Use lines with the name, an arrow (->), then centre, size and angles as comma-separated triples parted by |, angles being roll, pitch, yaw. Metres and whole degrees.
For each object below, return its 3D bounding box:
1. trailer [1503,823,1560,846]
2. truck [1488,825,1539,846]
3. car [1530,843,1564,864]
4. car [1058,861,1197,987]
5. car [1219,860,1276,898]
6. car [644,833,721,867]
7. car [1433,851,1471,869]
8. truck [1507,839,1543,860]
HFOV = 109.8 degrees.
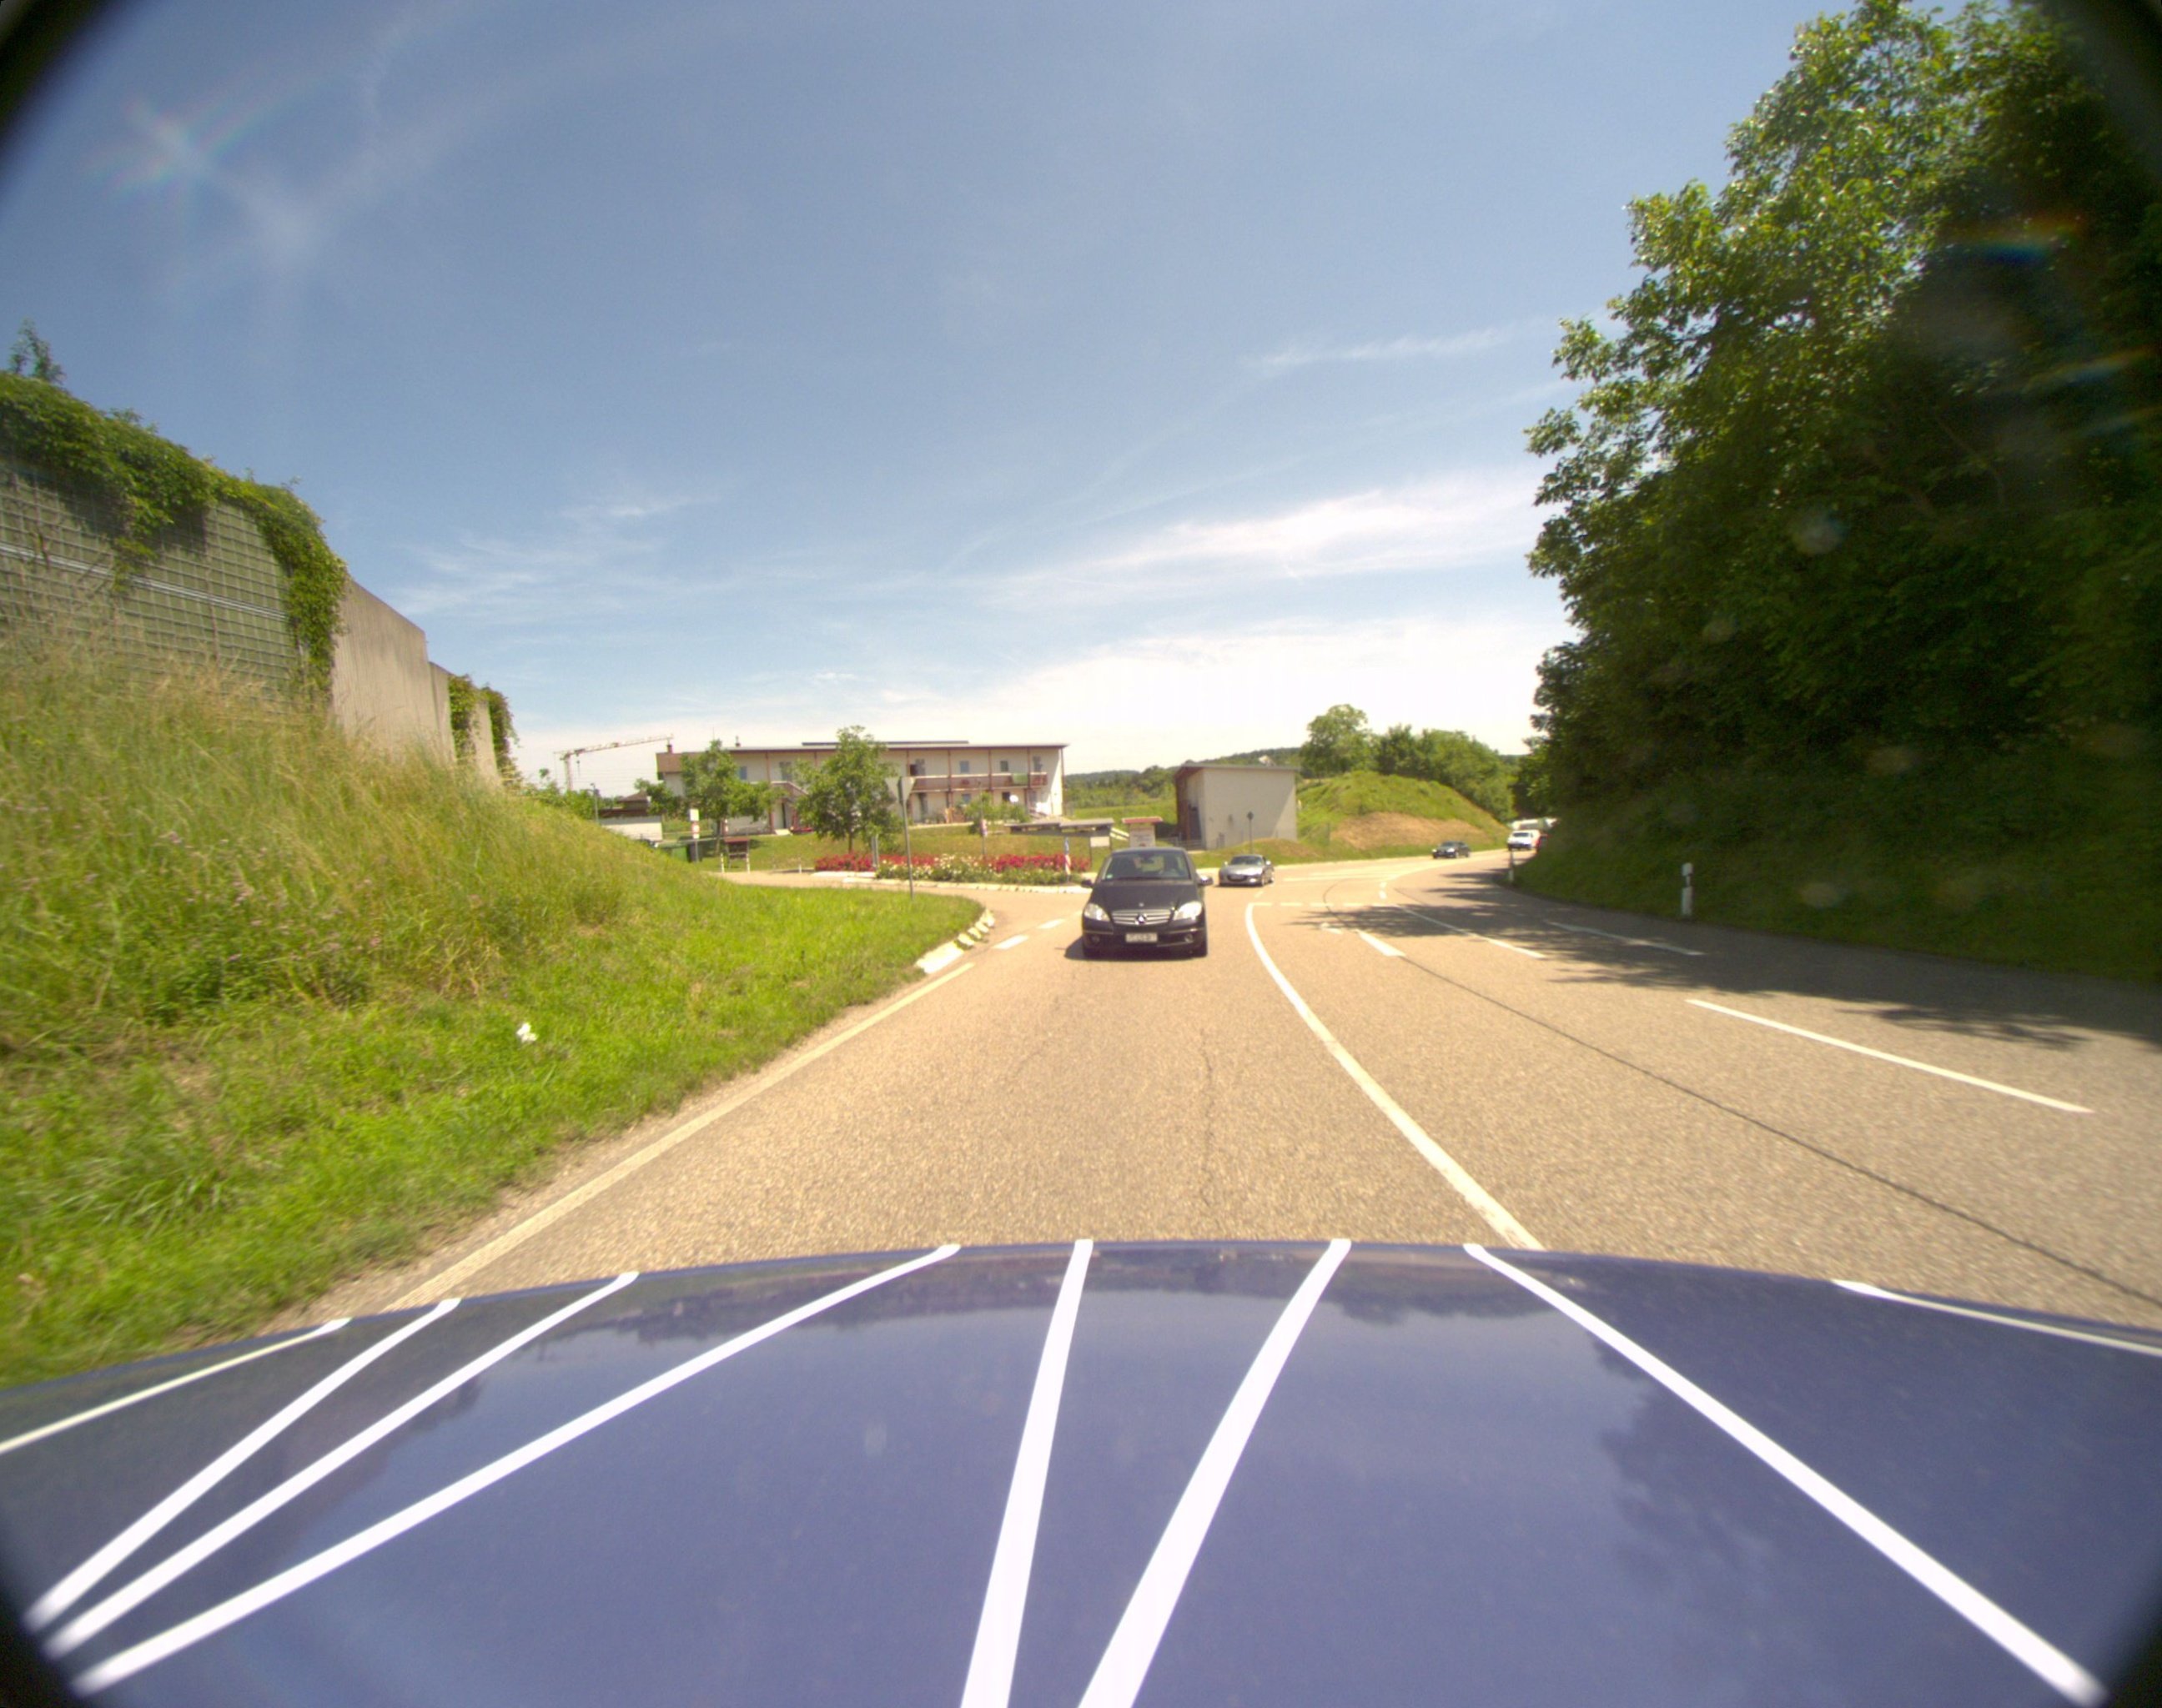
trailer -> 68.910, -2.975, 116.499 | 2.639, 3.353, 11.143 | -1, 1, 3
truck -> 69.296, -2.924, 121.889 | 2.636, 3.152, 7.056 | -2, 1, -18
car -> 39.043, -0.068, 63.625 | 1.791, 1.596, 4.188 | 1, 1, 41
car -> 0.891, 0.933, 11.857 | 1.794, 1.570, 3.802 | 0, 0, 9
car -> 6.717, 0.942, 30.463 | 1.644, 1.315, 3.443 | 1, 1, 22
car -> -23.120, -0.283, 44.240 | 1.868, 1.742, 4.000 | -1, 3, 9
car -> 29.216, 0.434, 59.823 | 1.751, 1.281, 4.154 | 2, 1, 39
truck -> 43.020, -0.444, 73.575 | 2.067, 2.001, 5.255 | -1, 0, 40
